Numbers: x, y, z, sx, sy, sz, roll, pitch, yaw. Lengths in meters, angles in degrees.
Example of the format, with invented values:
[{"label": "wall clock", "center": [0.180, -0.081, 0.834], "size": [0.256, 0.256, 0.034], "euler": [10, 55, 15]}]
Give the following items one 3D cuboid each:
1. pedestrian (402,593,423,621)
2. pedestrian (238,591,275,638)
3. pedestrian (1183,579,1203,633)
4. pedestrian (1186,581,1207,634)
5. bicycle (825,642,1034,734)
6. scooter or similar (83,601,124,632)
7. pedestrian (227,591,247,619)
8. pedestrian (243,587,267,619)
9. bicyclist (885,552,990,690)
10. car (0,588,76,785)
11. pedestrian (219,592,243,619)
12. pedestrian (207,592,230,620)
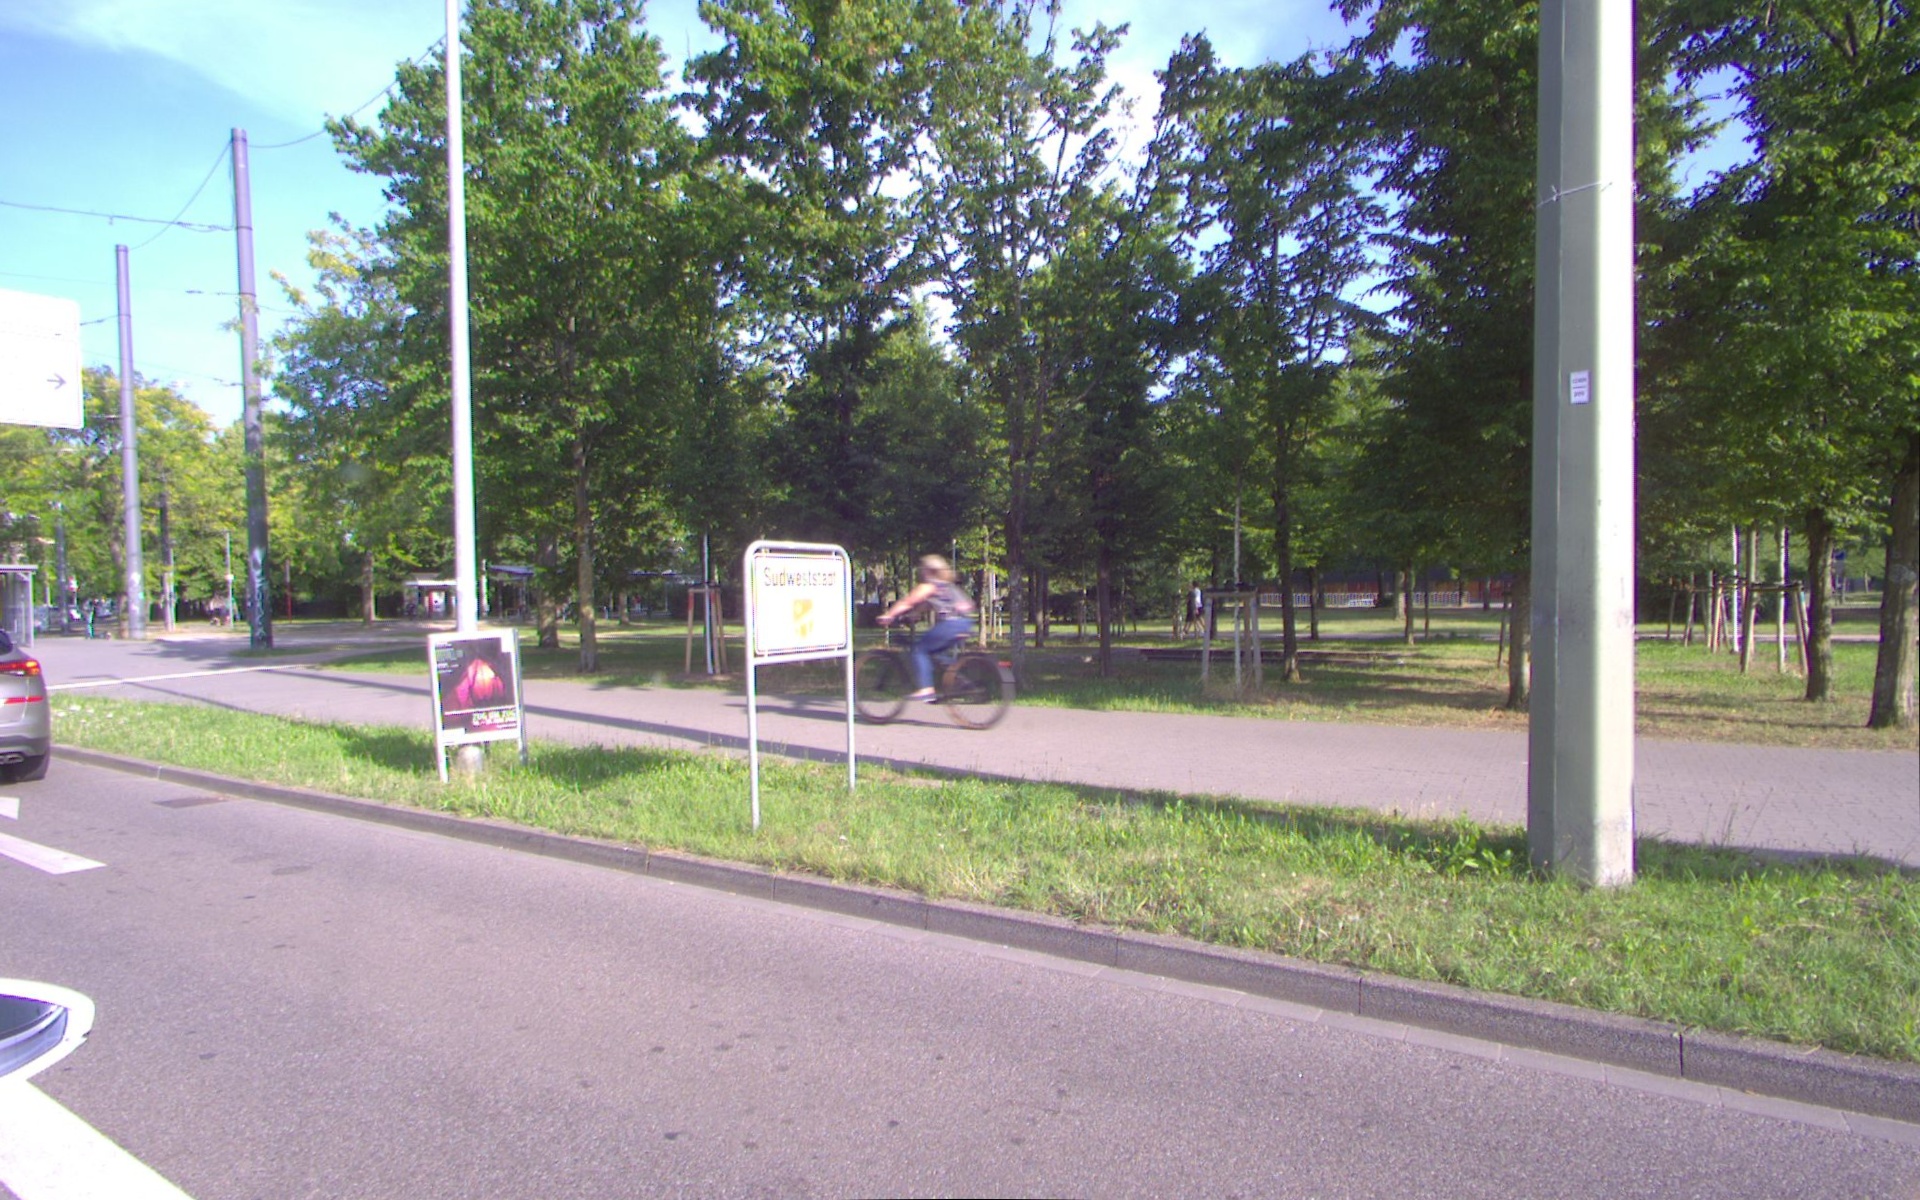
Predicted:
[{"label": "pedestrian", "center": [-33.242, 0.425, 60.821], "size": [0.792, 1.659, 0.832], "euler": [0, 2, 38]}, {"label": "pedestrian", "center": [-25.482, 0.526, 36.261], "size": [0.793, 1.659, 0.754], "euler": [-1, 1, -7]}, {"label": "pedestrian", "center": [7.992, 0.212, 34.370], "size": [0.617, 1.836, 0.502], "euler": [-1, 1, 6]}, {"label": "pedestrian", "center": [8.267, 0.255, 35.011], "size": [0.617, 1.836, 0.502], "euler": [-1, 1, 3]}, {"label": "bicycle", "center": [-0.337, 0.829, 9.814], "size": [2.137, 0.767, 0.494], "euler": [0, 2, 33]}, {"label": "scooter or similar", "center": [-31.477, 0.616, 36.805], "size": [1.305, 1.132, 0.420], "euler": [-1, 1, 13]}, {"label": "pedestrian", "center": [-39.980, 0.280, 55.397], "size": [0.804, 1.508, 0.696], "euler": [-2, 1, -33]}, {"label": "pedestrian", "center": [-40.241, 0.165, 57.128], "size": [0.826, 1.809, 0.798], "euler": [0, 1, 28]}, {"label": "bicyclist", "center": [-0.215, 0.194, 9.697], "size": [0.856, 1.279, 0.533], "euler": [0, 2, 32]}, {"label": "car", "center": [-9.942, 0.761, 9.122], "size": [3.595, 1.673, 1.880], "euler": [0, 1, 32]}, {"label": "pedestrian", "center": [-41.084, 0.287, 56.442], "size": [0.688, 1.508, 0.813], "euler": [0, 1, 22]}, {"label": "pedestrian", "center": [-41.020, 0.334, 55.415], "size": [0.687, 1.508, 0.815], "euler": [-1, 1, -9]}]
